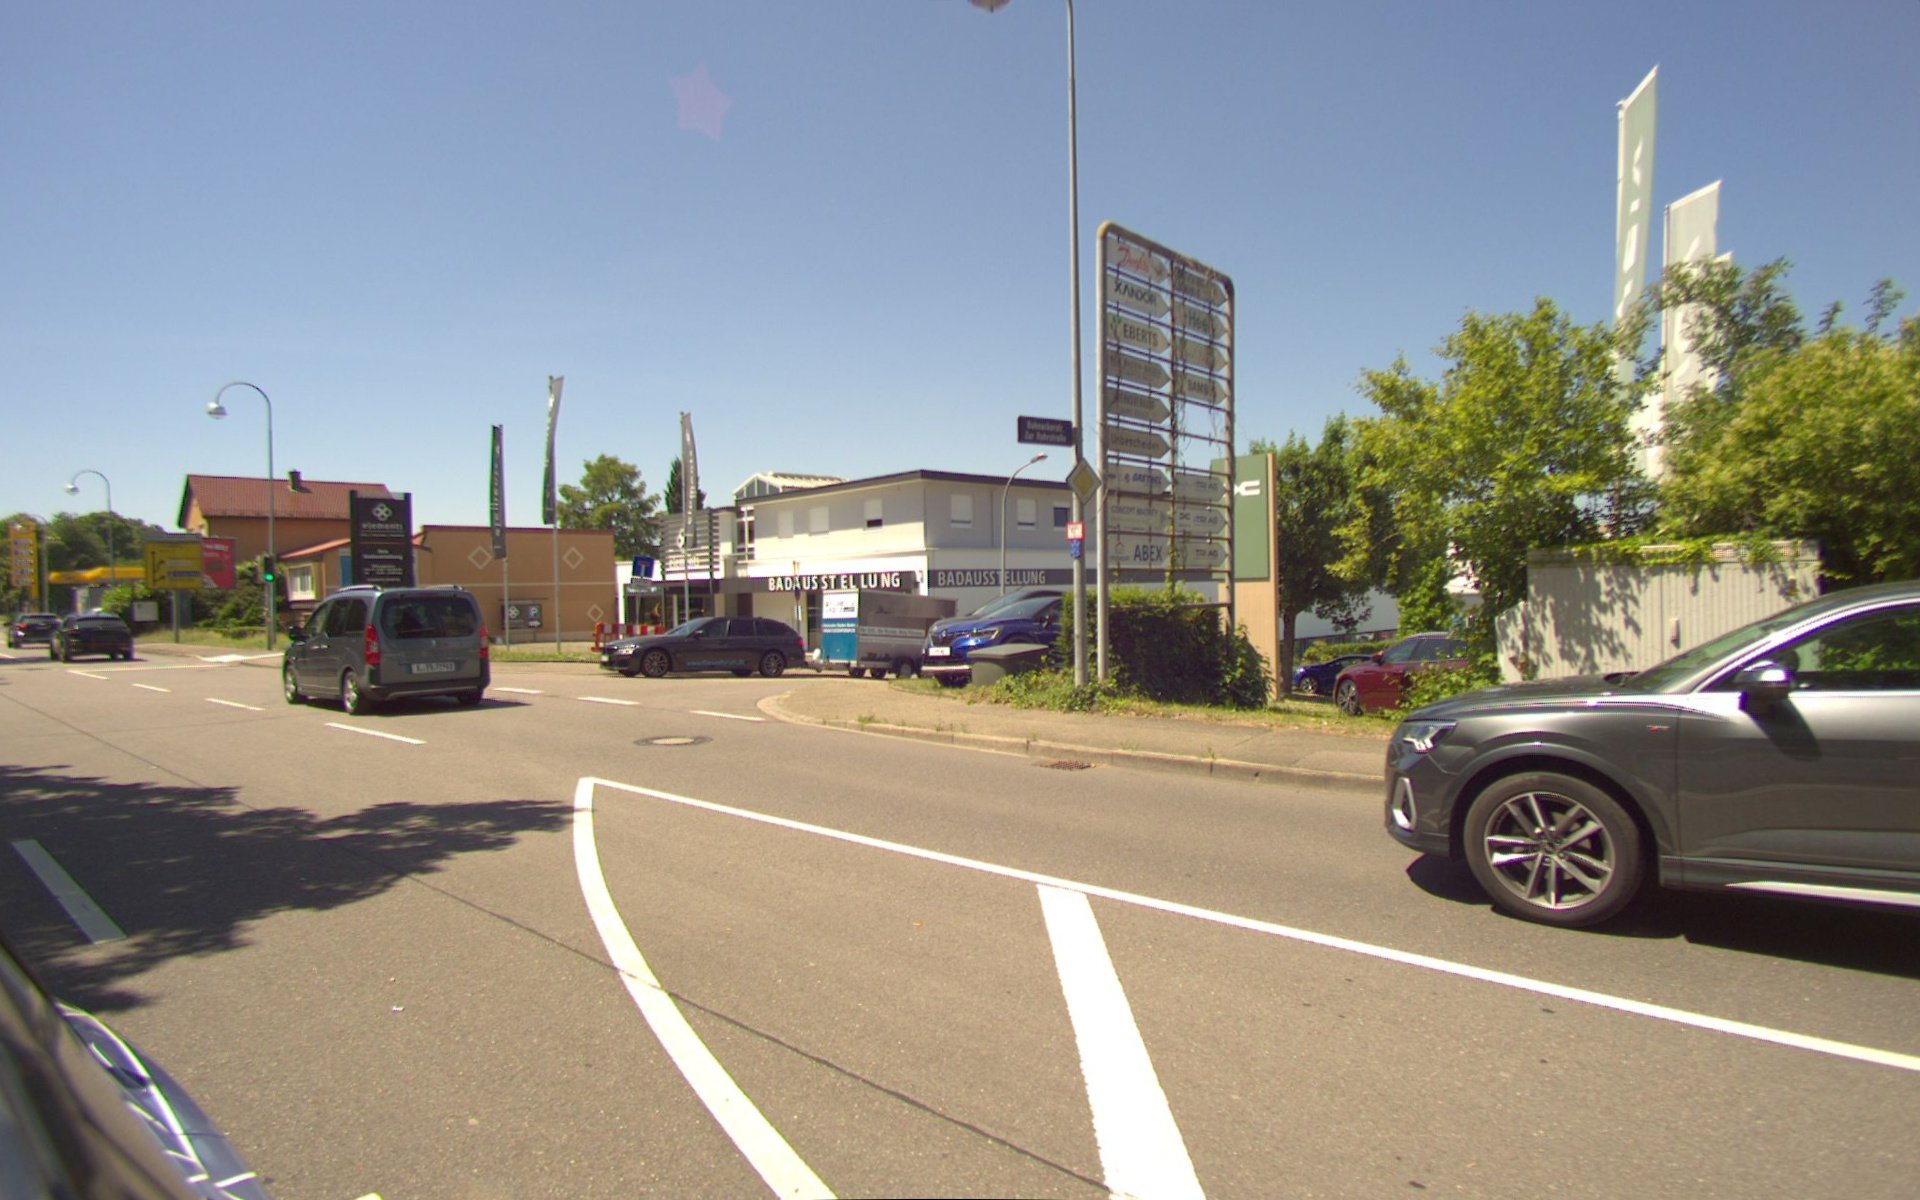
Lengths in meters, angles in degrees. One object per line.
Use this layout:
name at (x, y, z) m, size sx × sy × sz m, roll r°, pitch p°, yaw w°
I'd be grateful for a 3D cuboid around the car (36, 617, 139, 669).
car at (-27.542, 1.323, 31.907) m, size 4.049 × 1.518 × 1.850 m, roll -1°, pitch -1°, yaw 40°

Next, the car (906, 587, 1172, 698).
car at (1.345, 0.625, 16.305) m, size 4.081 × 1.516 × 1.781 m, roll -1°, pitch -2°, yaw -37°

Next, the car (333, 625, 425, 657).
car at (-31.782, 2.215, 55.427) m, size 4.163 × 1.621 × 1.774 m, roll 0°, pitch -1°, yaw -40°

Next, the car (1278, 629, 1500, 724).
car at (8.857, 1.516, 20.979) m, size 4.070 × 1.734 × 1.797 m, roll -1°, pitch 0°, yaw 28°

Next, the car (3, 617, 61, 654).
car at (-42.274, 1.588, 46.163) m, size 1.903 × 1.567 × 4.308 m, roll 0°, pitch -1°, yaw -42°

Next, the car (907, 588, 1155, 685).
car at (1.368, 0.733, 20.116) m, size 4.381 × 1.741 × 2.069 m, roll -1°, pitch -5°, yaw -18°

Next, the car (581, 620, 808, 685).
car at (-6.290, 1.252, 24.254) m, size 4.889 × 1.398 × 1.922 m, roll 3°, pitch -3°, yaw -36°

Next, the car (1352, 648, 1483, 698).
car at (15.763, 2.475, 34.916) m, size 3.984 × 1.497 × 1.740 m, roll -1°, pitch -1°, yaw 30°

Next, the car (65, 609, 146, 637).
car at (-60.600, 1.611, 71.814) m, size 1.872 × 1.883 × 4.140 m, roll -1°, pitch -1°, yaw 38°

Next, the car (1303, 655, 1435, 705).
car at (13.337, 2.566, 33.038) m, size 3.849 × 1.426 × 1.637 m, roll -1°, pitch -1°, yaw 28°

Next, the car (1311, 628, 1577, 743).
car at (7.322, 1.217, 15.820) m, size 1.651 × 1.403 × 4.104 m, roll -1°, pitch 0°, yaw -10°

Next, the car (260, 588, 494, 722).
car at (-9.074, 0.768, 15.583) m, size 4.568 × 1.775 × 1.792 m, roll -1°, pitch -1°, yaw 42°

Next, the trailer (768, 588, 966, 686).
trailer at (-2.428, 1.026, 27.578) m, size 5.287 × 2.424 × 1.942 m, roll 3°, pitch -3°, yaw -44°

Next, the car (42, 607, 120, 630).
car at (-68.914, 1.433, 79.400) m, size 1.872 × 1.773 × 4.348 m, roll -1°, pitch -1°, yaw 38°

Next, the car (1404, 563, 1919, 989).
car at (4.341, 0.627, 4.110) m, size 4.313 × 1.548 × 1.775 m, roll -1°, pitch 0°, yaw 42°
